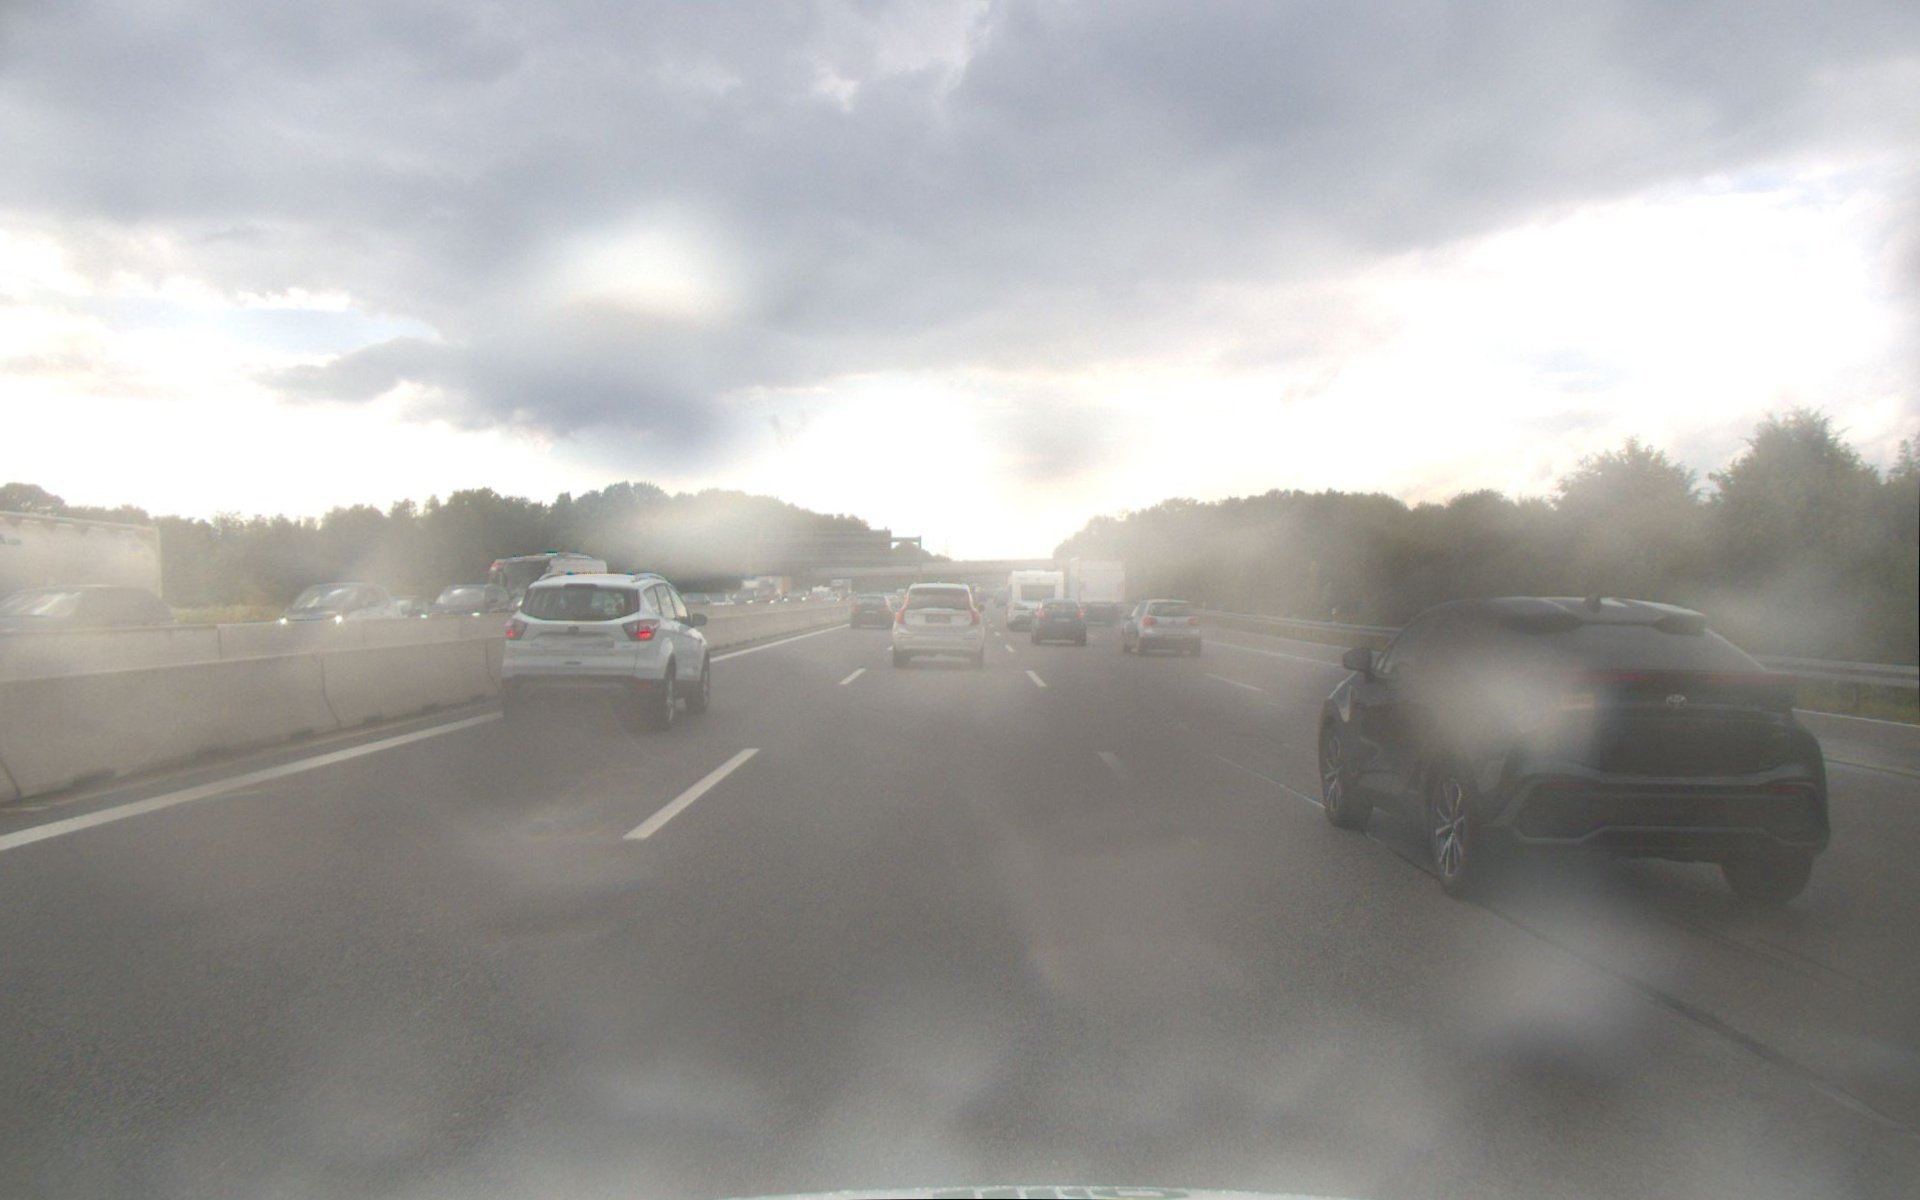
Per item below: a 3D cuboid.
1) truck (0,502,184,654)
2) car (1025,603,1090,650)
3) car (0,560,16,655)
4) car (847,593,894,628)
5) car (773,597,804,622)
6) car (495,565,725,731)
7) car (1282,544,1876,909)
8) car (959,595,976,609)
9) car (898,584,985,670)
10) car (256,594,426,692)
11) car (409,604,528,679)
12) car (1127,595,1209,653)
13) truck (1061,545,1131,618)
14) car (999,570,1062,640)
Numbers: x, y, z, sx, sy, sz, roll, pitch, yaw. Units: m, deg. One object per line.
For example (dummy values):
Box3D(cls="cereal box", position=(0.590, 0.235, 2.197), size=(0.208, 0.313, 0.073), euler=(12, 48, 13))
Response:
Box3D(cls="truck", position=(-25.632, -0.565, 44.681), size=(3.084, 3.811, 13.298), euler=(1, 0, 0))
Box3D(cls="car", position=(3.122, 0.819, 53.737), size=(1.846, 1.431, 4.282), euler=(1, 0, 0))
Box3D(cls="car", position=(-21.087, 0.155, 33.075), size=(1.952, 1.982, 4.212), euler=(1, 0, 0))
Box3D(cls="car", position=(-3.964, 0.448, 73.529), size=(1.744, 1.507, 4.353), euler=(1, 0, 1))
Box3D(cls="car", position=(-13.501, 0.709, 130.488), size=(1.952, 1.937, 4.504), euler=(1, 0, 1))
Box3D(cls="car", position=(-3.960, 0.475, 19.520), size=(1.778, 1.719, 4.851), euler=(0, 0, -1))
Box3D(cls="car", position=(3.254, 0.567, 9.788), size=(1.744, 1.641, 4.597), euler=(1, 0, -1))
Box3D(cls="car", position=(0.872, 0.229, 195.491), size=(1.843, 1.715, 3.999), euler=(1, 0, -2))
Box3D(cls="car", position=(-0.433, 0.545, 35.863), size=(1.745, 1.746, 4.351), euler=(1, 0, -2))
Box3D(cls="car", position=(-13.625, 0.888, 36.724), size=(1.952, 2.001, 4.696), euler=(1, 0, 0))
Box3D(cls="car", position=(-13.997, 1.143, 47.373), size=(1.952, 2.001, 4.696), euler=(1, 0, 0))
Box3D(cls="car", position=(5.676, 0.624, 45.440), size=(1.758, 1.503, 4.038), euler=(1, 0, 0))
Box3D(cls="truck", position=(7.379, -0.968, 91.022), size=(3.069, 3.774, 9.847), euler=(1, 0, 0))
Box3D(cls="car", position=(3.083, 0.183, 74.027), size=(2.514, 2.946, 7.533), euler=(1, 0, 0))
